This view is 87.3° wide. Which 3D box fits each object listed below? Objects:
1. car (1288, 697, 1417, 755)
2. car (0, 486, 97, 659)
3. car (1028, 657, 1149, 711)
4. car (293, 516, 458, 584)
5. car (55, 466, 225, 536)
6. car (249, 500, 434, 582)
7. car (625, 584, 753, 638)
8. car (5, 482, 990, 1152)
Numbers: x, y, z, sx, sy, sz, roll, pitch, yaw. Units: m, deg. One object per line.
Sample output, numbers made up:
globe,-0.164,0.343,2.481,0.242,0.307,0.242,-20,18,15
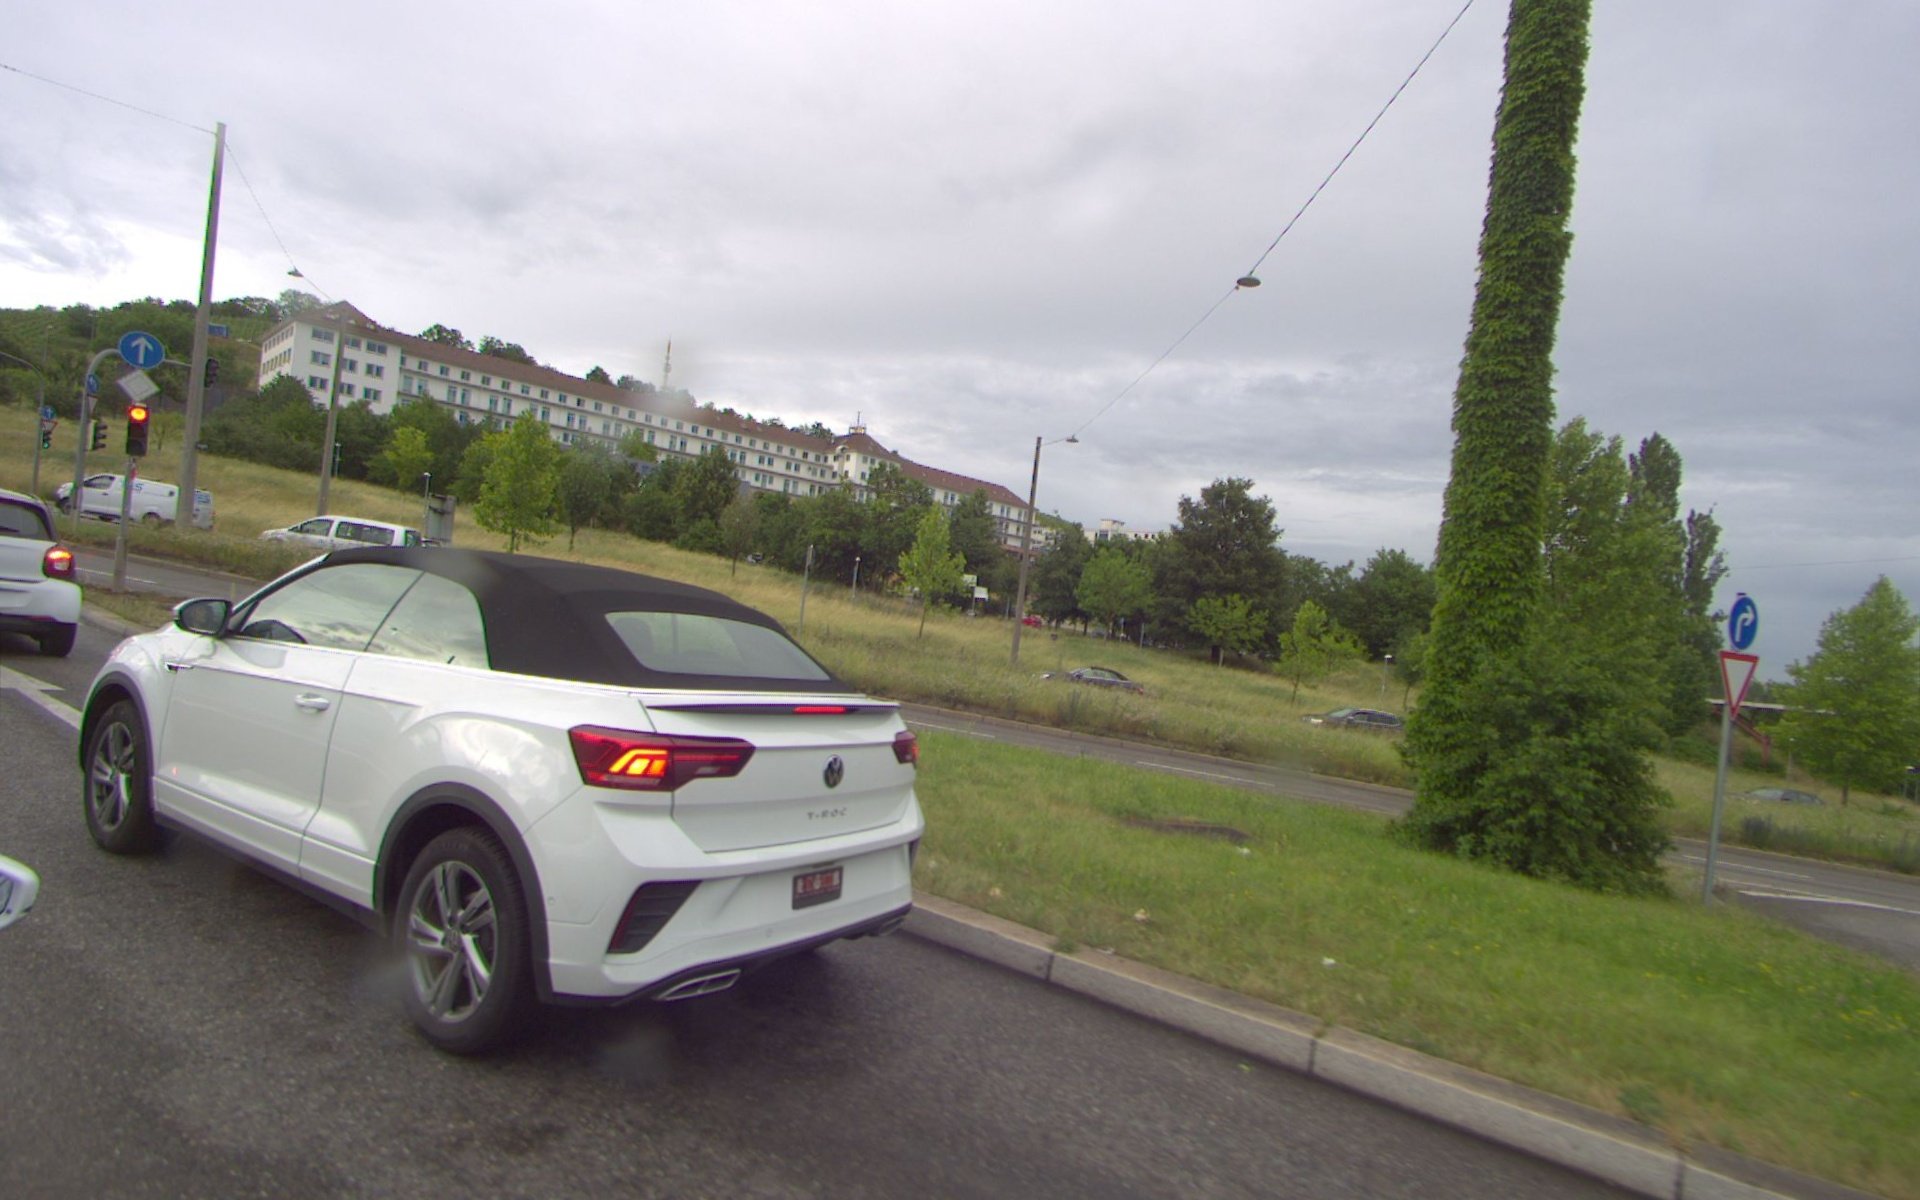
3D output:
car,15.995,5.124,41.134,4.341,1.655,2.001,8,-2,-2
car,-10.096,-0.420,9.947,3.400,1.520,1.658,6,-2,39
car,5.097,3.346,40.266,4.420,1.494,2.001,8,-2,-1
car,-20.579,-1.729,35.587,4.446,1.639,1.999,8,-2,-7
car,-31.734,-3.814,39.031,4.653,1.815,2.137,8,-2,1
car,-20.066,-1.891,32.801,4.617,1.871,1.821,8,-2,-7
car,-10.569,0.455,39.473,4.341,1.494,2.001,8,-2,-2
car,-2.170,0.506,4.368,4.159,1.571,1.717,6,-2,31
